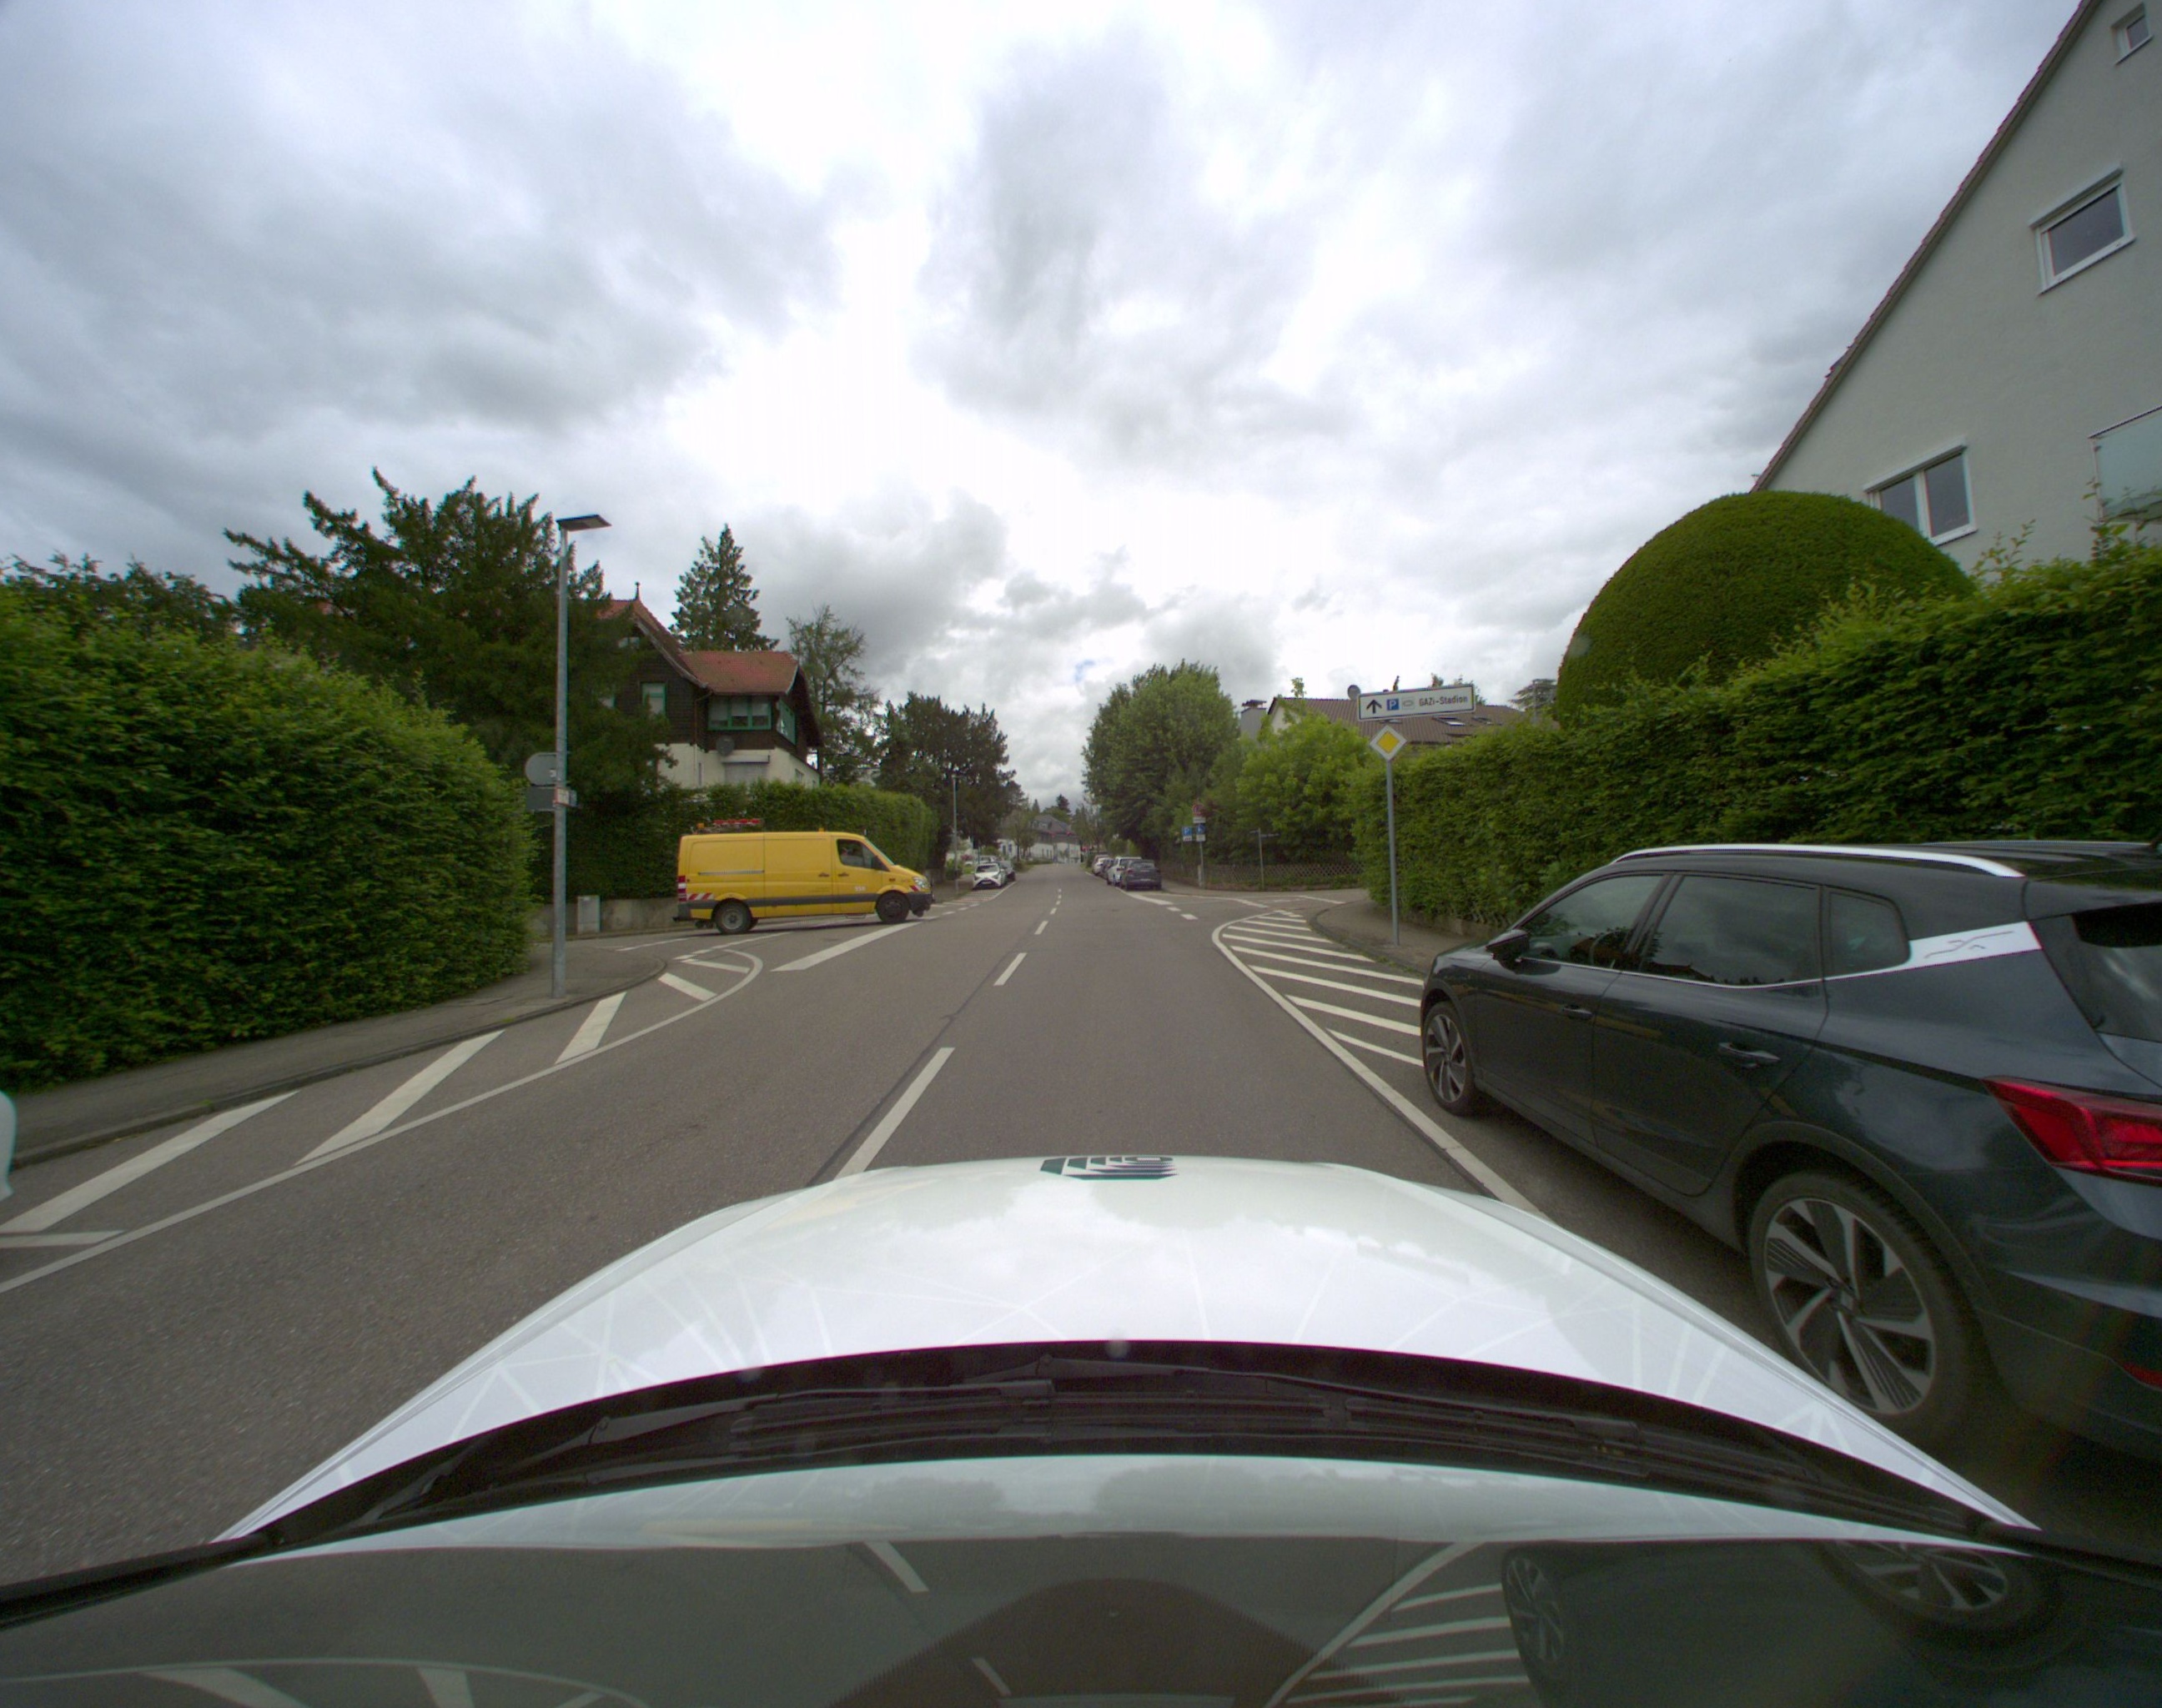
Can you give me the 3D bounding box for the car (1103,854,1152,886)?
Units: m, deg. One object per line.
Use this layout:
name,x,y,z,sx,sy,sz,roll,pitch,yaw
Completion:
car,2.576,0.859,46.310,1.998,1.608,4.748,-3,0,-6

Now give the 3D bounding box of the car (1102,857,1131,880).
car,2.425,0.981,55.950,1.693,1.508,4.157,0,0,-2

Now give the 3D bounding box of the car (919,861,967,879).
car,-11.450,1.305,67.845,3.791,1.354,1.737,-2,0,-8

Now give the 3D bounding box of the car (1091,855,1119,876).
car,1.940,0.904,66.712,1.988,1.491,5.002,-3,0,-1

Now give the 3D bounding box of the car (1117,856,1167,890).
car,3.038,0.925,41.385,1.933,1.491,4.451,-3,0,-3

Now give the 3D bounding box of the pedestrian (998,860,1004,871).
pedestrian,-9.726,1.420,99.147,0.605,1.283,0.899,0,0,-2

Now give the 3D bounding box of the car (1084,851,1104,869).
car,1.420,0.650,89.306,1.931,1.838,5.215,-2,0,-2

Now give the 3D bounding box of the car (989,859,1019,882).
car,-5.521,1.146,58.813,1.846,1.469,4.677,-2,0,-3

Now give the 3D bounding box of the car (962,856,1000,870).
car,-12.217,1.102,100.001,4.377,1.566,2.064,-3,0,-4

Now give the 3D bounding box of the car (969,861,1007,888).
car,-5.270,1.149,46.672,1.739,1.448,3.512,-2,0,-1

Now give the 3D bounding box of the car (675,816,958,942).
car,-6.330,0.515,20.054,6.141,2.601,2.353,-3,0,-18

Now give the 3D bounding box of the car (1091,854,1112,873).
car,1.816,0.807,72.527,1.712,1.632,3.926,0,0,-2

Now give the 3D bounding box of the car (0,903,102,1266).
car,-5.213,0.990,1.767,1.683,1.419,3.581,-4,0,2

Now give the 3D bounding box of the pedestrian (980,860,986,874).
pedestrian,-11.508,1.530,95.876,0.591,1.640,0.565,-3,0,-1

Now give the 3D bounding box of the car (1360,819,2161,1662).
car,2.861,0.658,3.632,1.783,1.488,4.380,-3,0,1
